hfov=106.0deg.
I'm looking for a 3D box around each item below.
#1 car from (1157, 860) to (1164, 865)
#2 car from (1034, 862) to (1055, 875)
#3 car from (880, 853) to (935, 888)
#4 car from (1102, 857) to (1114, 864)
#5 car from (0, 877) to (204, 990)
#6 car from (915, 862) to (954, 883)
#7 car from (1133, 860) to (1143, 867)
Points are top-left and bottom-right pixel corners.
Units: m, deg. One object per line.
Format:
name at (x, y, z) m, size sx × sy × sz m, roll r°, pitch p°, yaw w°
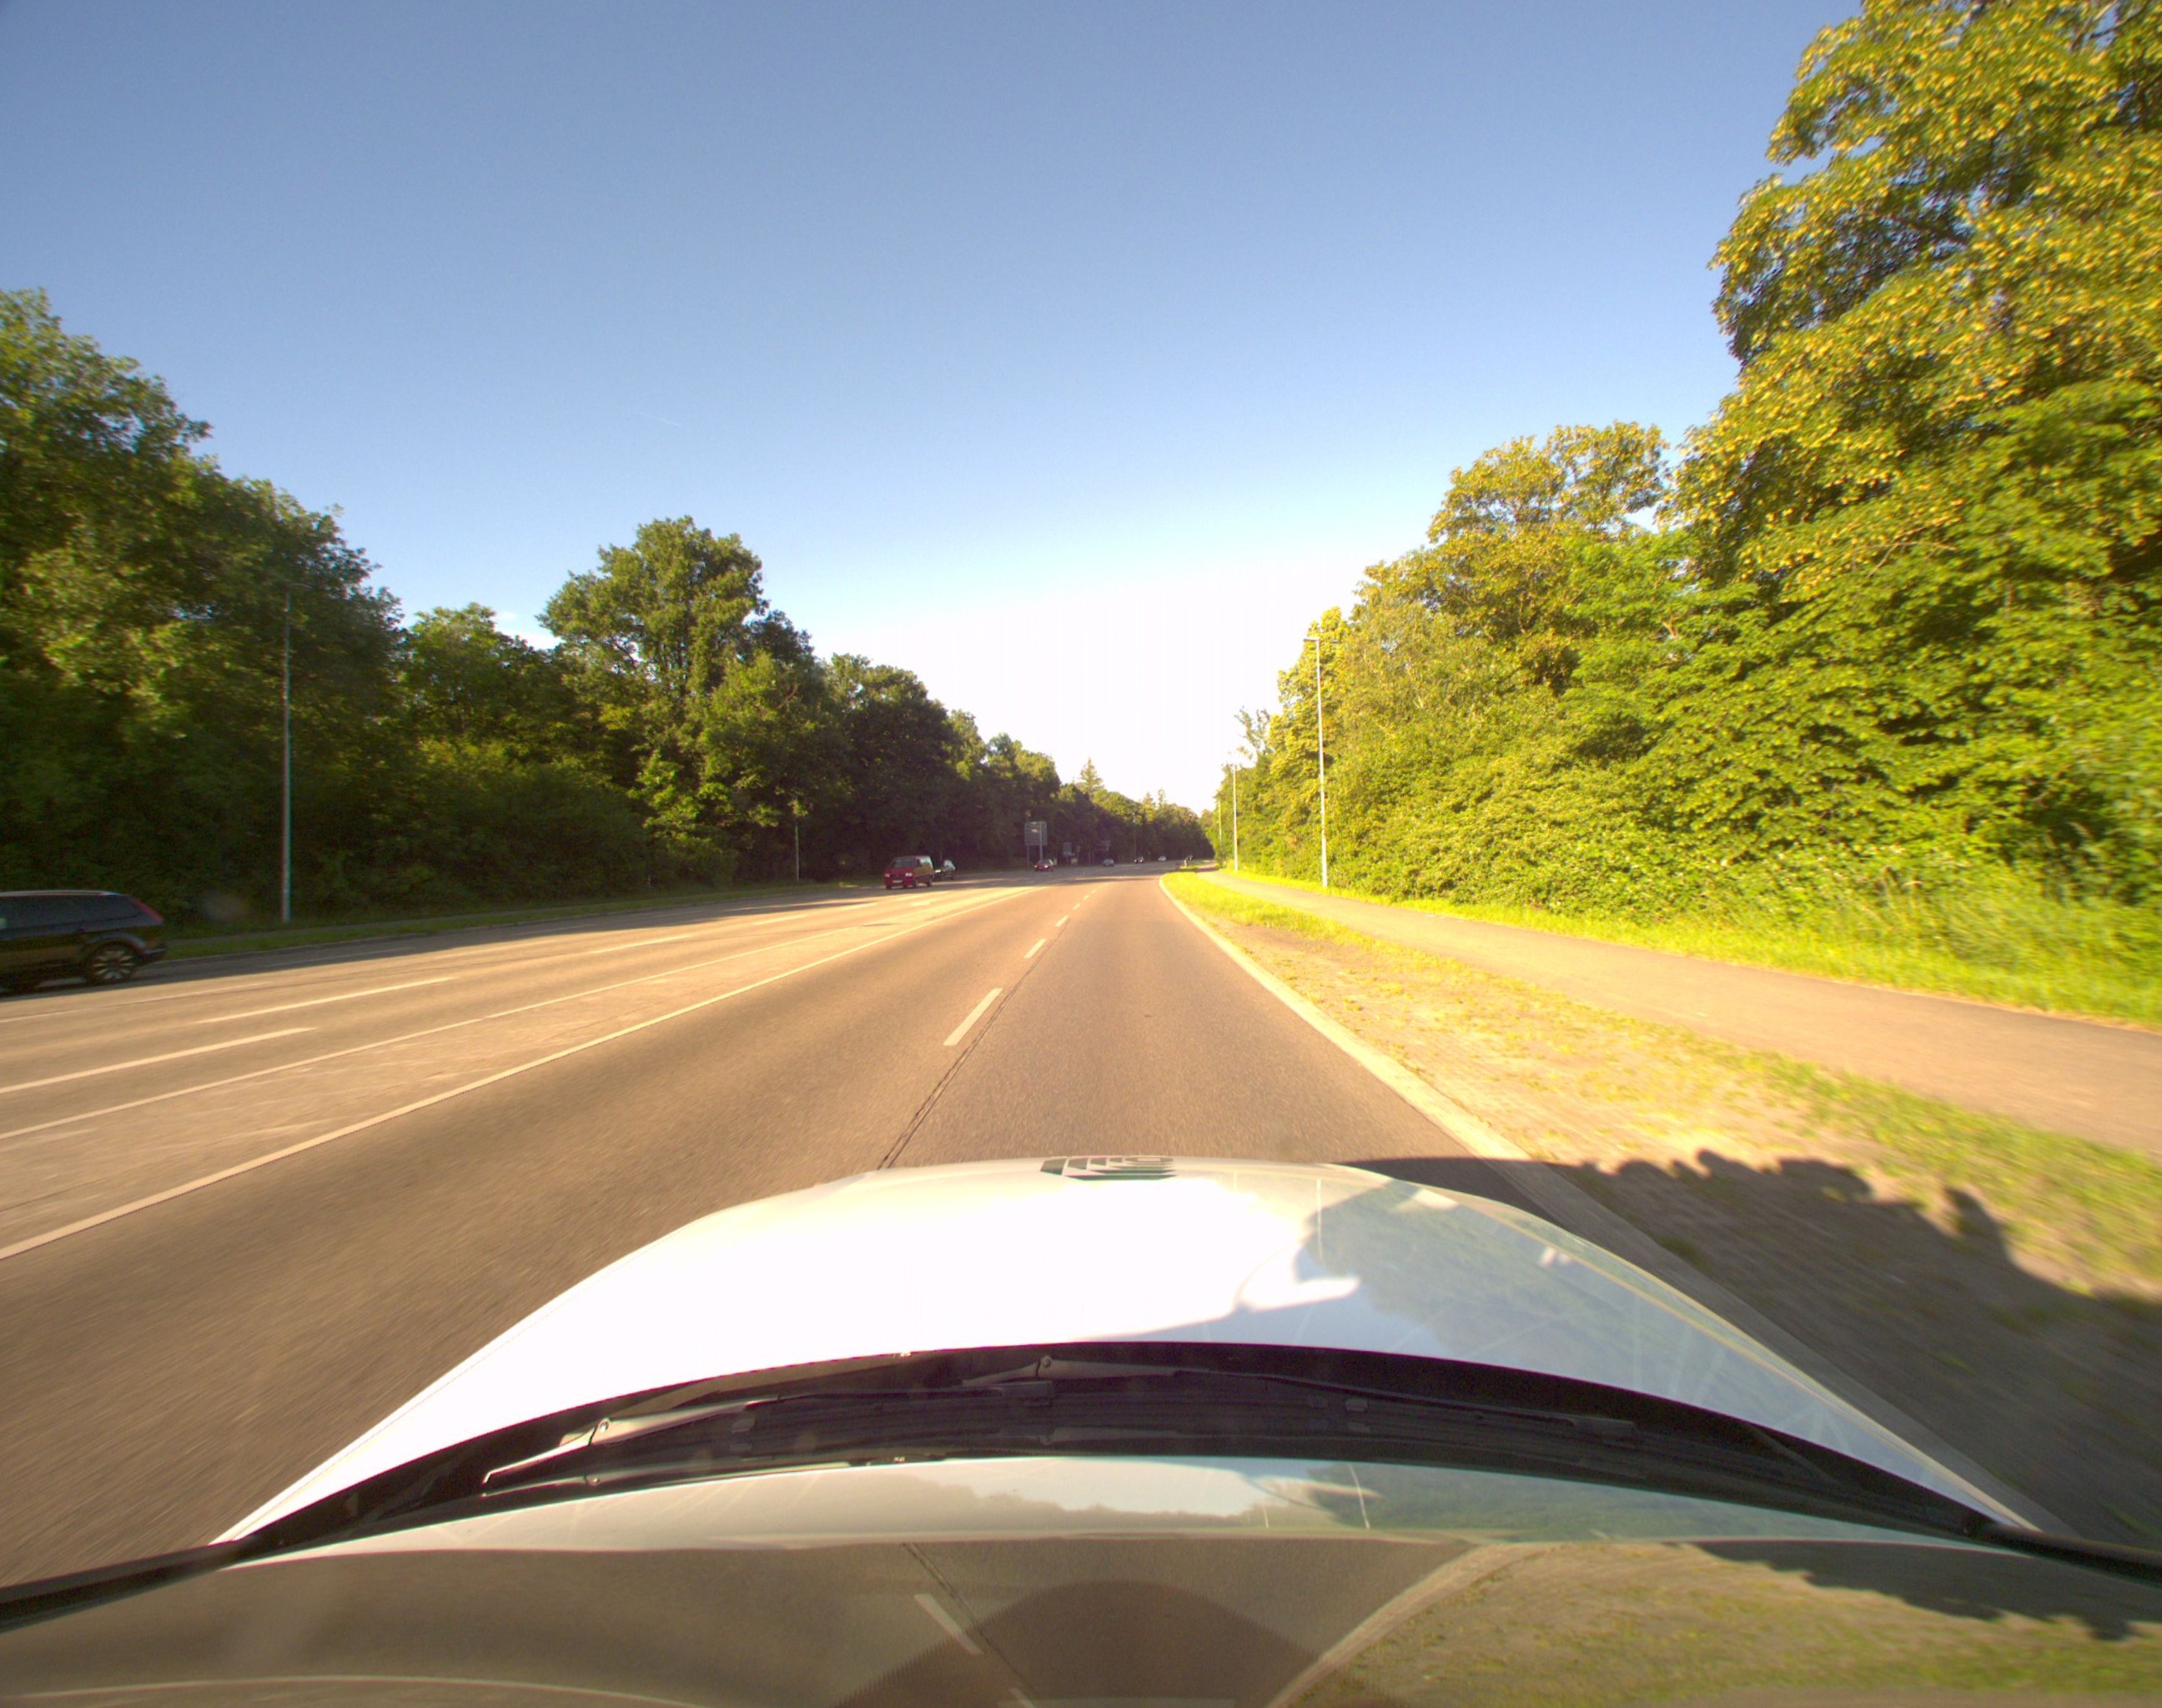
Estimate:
car at (23.091, 2.582, 237.050) m, size 1.813 × 1.504 × 4.318 m, roll 0°, pitch -1°, yaw 10°
car at (-4.561, 1.769, 101.386) m, size 1.984 × 1.564 × 4.344 m, roll -1°, pitch -1°, yaw 5°
car at (-10.284, 0.978, 48.725) m, size 1.985 × 1.962 × 4.651 m, roll -2°, pitch -1°, yaw 3°
car at (4.843, 1.118, 145.063) m, size 1.735 × 1.234 × 4.680 m, roll -1°, pitch -1°, yaw 5°
car at (-16.375, 1.237, 11.833) m, size 1.985 × 1.564 × 4.651 m, roll -5°, pitch -1°, yaw 3°
car at (-11.797, 1.466, 65.693) m, size 1.985 × 1.637 × 4.848 m, roll -1°, pitch -1°, yaw 3°
car at (13.843, 2.317, 197.303) m, size 1.813 × 1.545 × 4.270 m, roll 0°, pitch -1°, yaw 12°
